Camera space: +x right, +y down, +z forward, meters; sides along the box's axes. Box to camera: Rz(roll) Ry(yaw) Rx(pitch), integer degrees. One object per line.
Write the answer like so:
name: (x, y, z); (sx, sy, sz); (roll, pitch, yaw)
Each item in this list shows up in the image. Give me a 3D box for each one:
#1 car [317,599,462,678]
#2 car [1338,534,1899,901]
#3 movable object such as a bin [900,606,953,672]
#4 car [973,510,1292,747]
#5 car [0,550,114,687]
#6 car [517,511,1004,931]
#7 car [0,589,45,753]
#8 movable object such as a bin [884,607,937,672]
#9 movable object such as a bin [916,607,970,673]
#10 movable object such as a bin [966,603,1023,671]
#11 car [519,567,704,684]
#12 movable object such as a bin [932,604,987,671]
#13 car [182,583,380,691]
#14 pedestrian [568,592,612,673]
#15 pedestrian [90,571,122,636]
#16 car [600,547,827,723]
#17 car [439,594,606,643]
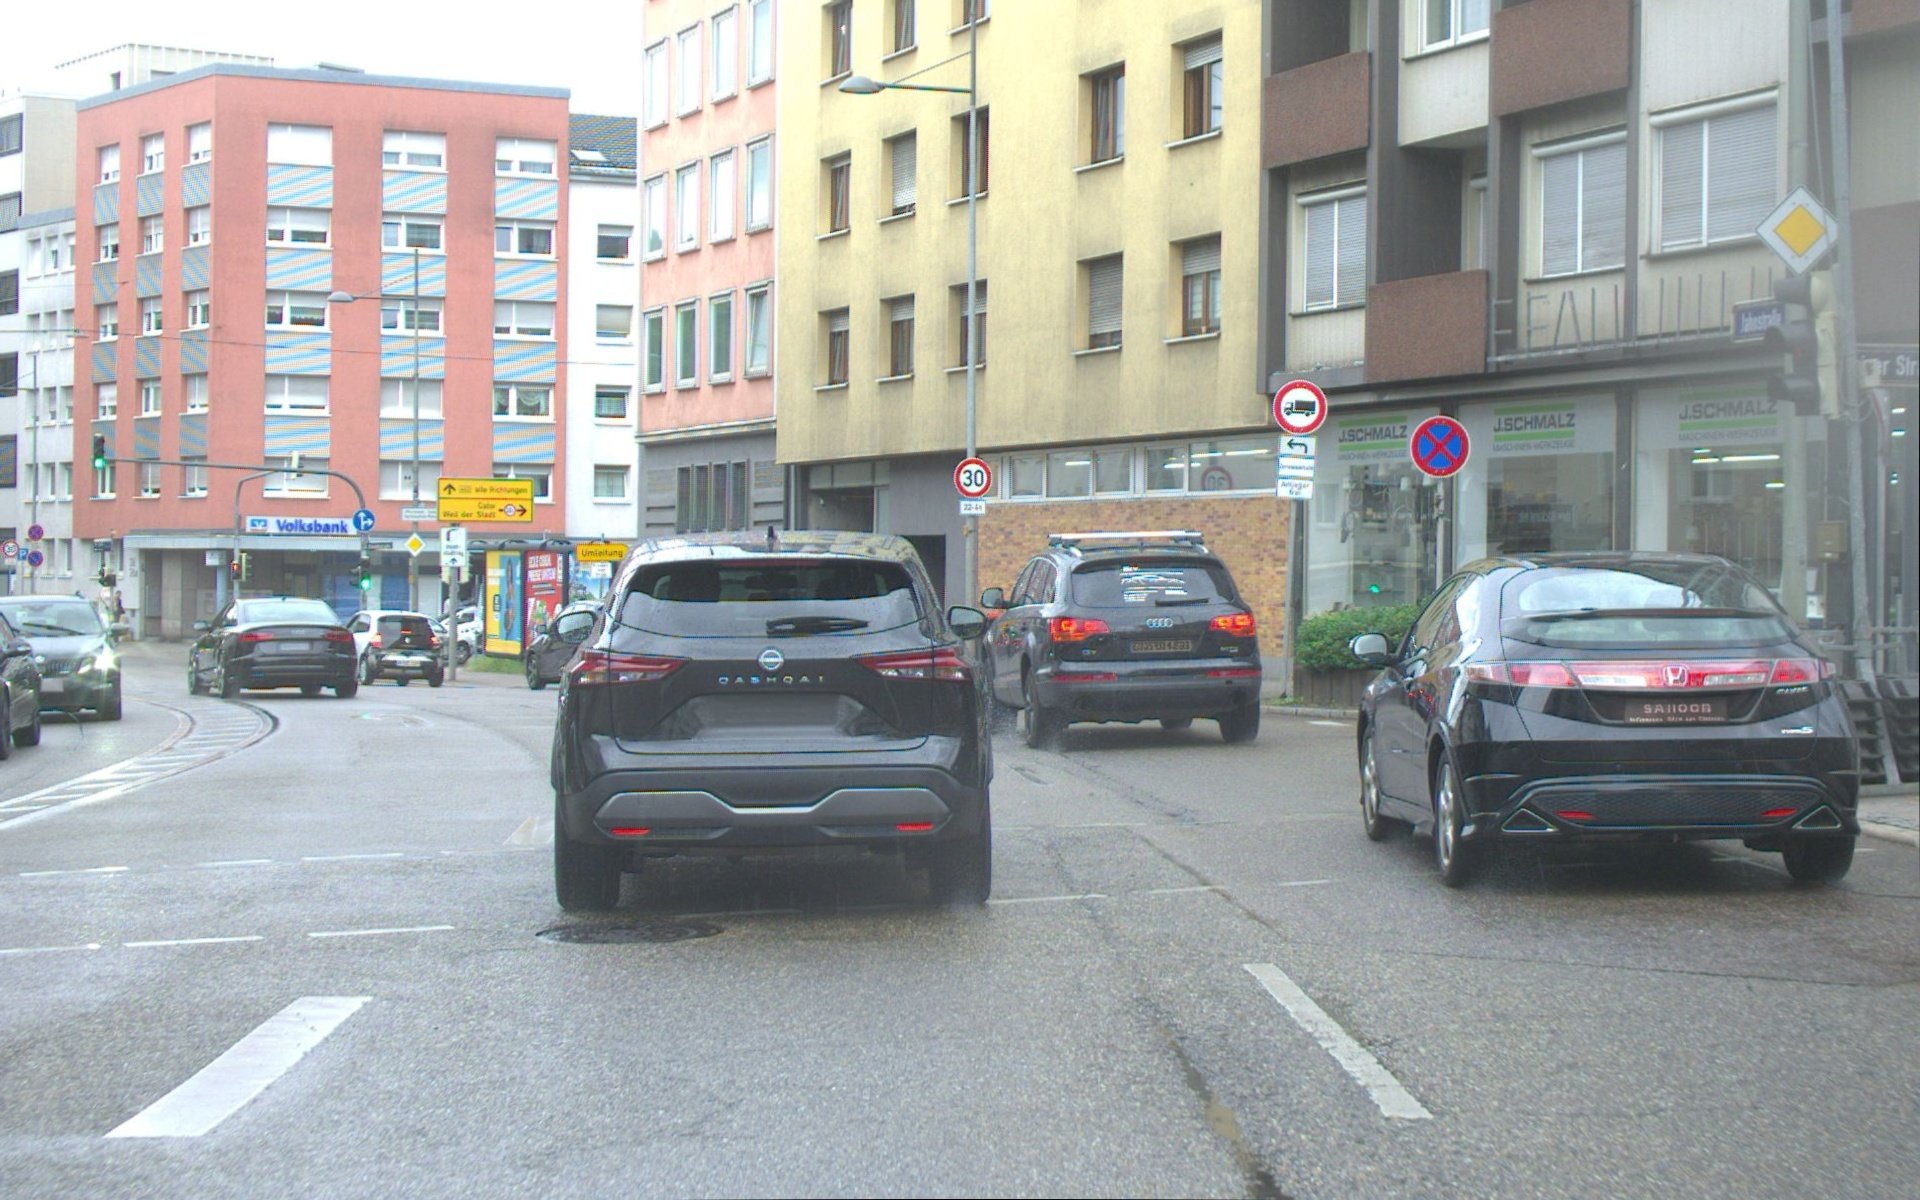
car: (-11.773, 0.781, 70.767); (1.993, 1.481, 4.001); (2, 0, -23)
car: (2.917, 0.465, 16.080); (1.783, 1.491, 4.057); (0, 0, -1)
movable object such as a bin: (-0.555, 0.642, 56.948); (0.680, 1.073, 0.668); (0, -1, -24)
car: (1.406, 0.214, 30.259); (2.021, 1.863, 4.900); (-2, 0, -6)
car: (-10.747, 0.203, 39.403); (1.983, 1.454, 4.487); (-2, 1, -14)
car: (-0.917, 0.459, 15.524); (1.894, 1.623, 4.001); (-1, 0, -4)
car: (-9.266, 0.620, 30.672); (1.824, 1.361, 4.605); (-1, 0, -11)
movable object such as a bin: (-0.826, 0.657, 57.595); (0.680, 1.073, 0.668); (0, -1, -24)
movable object such as a bin: (-0.278, 0.657, 56.321); (0.680, 1.073, 0.668); (0, -1, -24)
movable object such as a bin: (0.544, 0.587, 54.436); (0.680, 1.073, 0.668); (0, -1, -24)
car: (-5.831, 0.402, 57.145); (1.945, 1.810, 4.001); (-2, 1, -22)
movable object such as a bin: (-0.006, 0.607, 55.696); (0.680, 1.073, 0.668); (0, -1, -24)
car: (-9.720, 0.495, 48.974); (1.993, 1.383, 4.501); (2, 0, -21)
pedestrian: (-8.177, 0.710, 75.917); (0.672, 1.781, 1.095); (1, 0, -21)
pedestrian: (-28.722, 0.125, 115.639); (0.825, 2.151, 0.770); (2, -1, -25)
car: (-2.635, 0.327, 35.918); (1.945, 1.679, 4.001); (-2, 1, -9)
car: (-13.316, 0.548, 104.642); (4.650, 1.481, 1.920); (0, 0, -27)
